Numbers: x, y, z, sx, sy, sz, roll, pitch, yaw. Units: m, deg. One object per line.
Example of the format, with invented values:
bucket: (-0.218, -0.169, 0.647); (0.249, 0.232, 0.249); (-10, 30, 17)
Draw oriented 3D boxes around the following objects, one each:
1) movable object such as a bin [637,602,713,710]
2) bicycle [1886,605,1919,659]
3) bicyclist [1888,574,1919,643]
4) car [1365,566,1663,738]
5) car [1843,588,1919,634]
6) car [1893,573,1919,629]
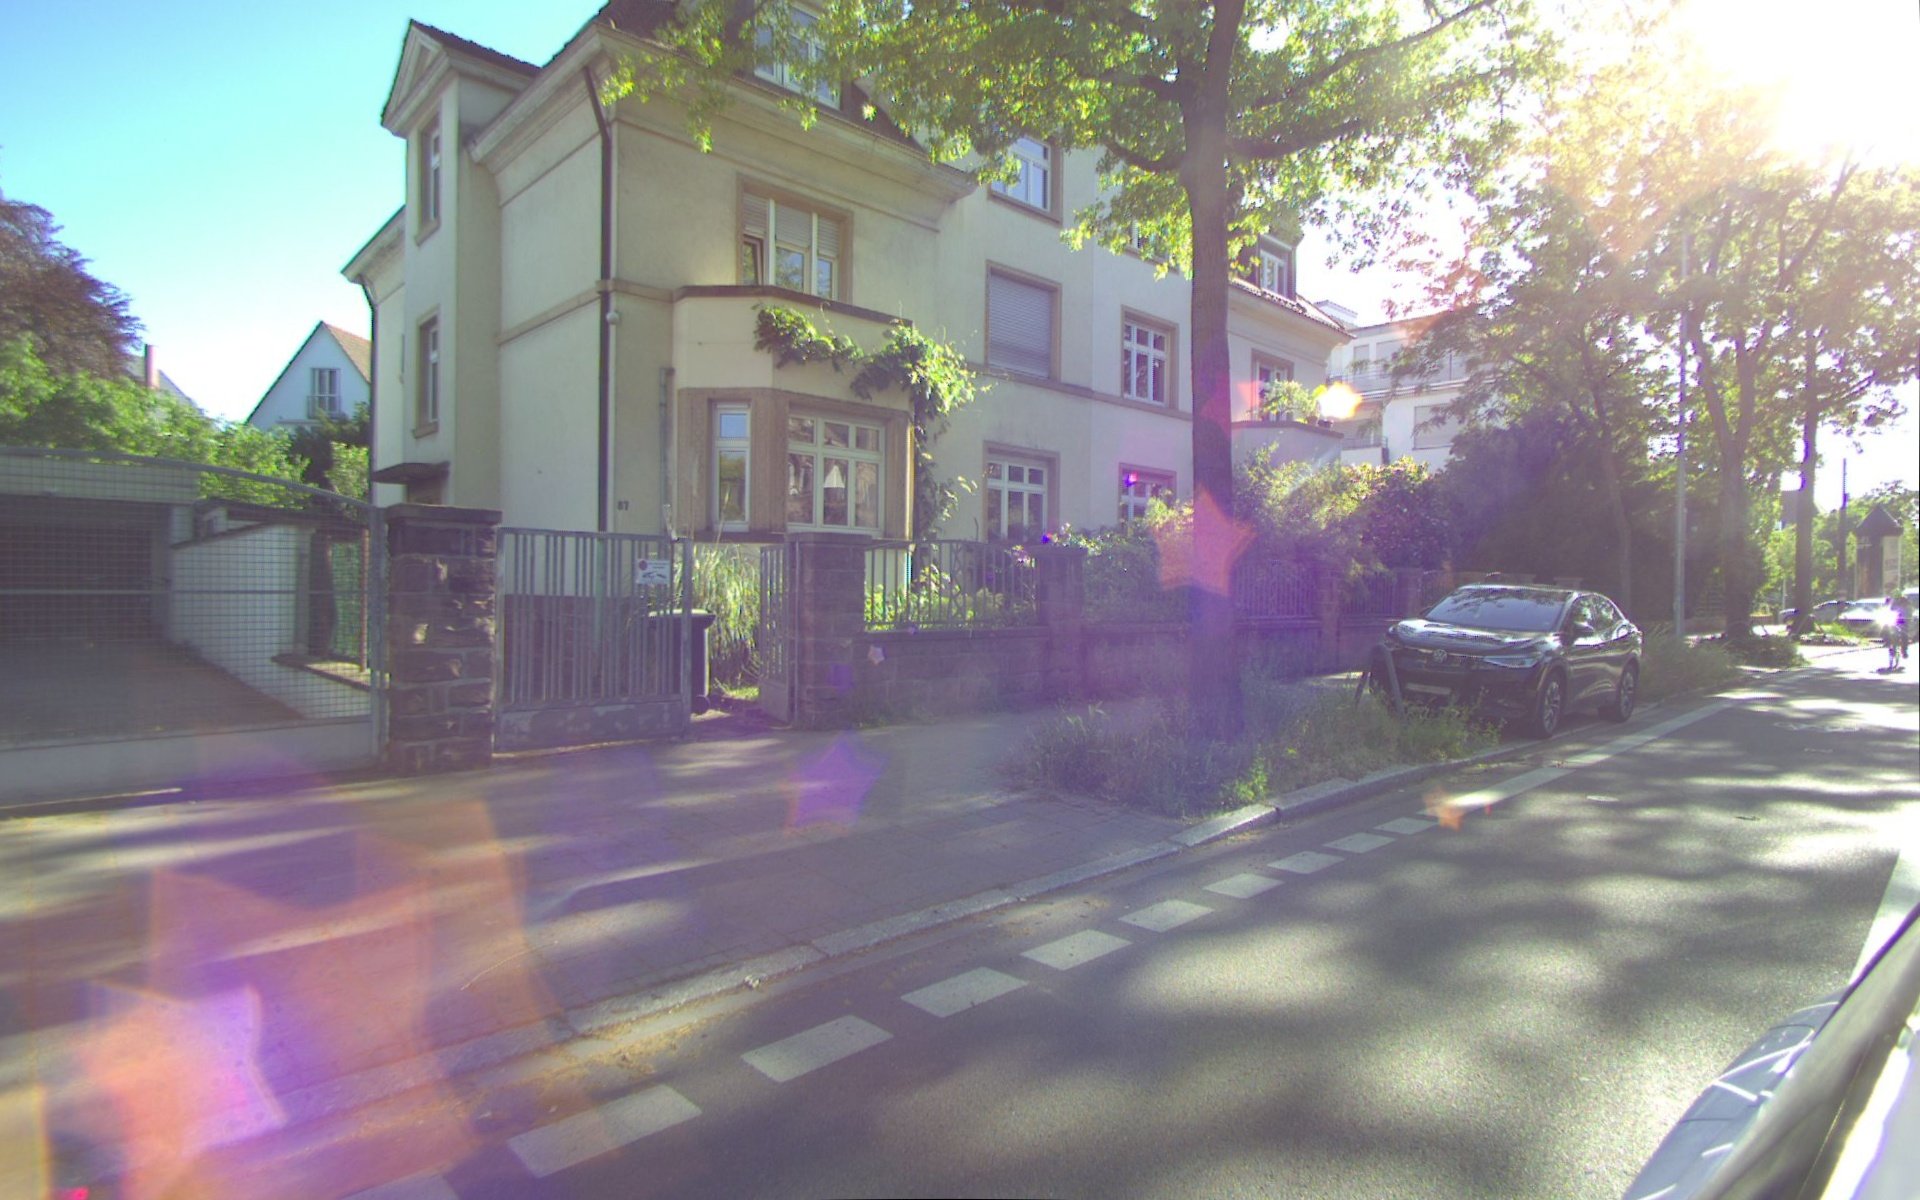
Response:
movable object such as a bin: (-3.068, 0.563, 10.833); (0.697, 1.070, 1.093); (0, 0, -20)
bicycle: (21.448, 0.703, 22.803); (1.868, 1.158, 0.644); (0, 0, -41)
bicyclist: (21.454, 0.180, 22.821); (1.095, 1.506, 0.645); (0, 0, -41)
car: (6.687, 0.495, 12.055); (4.020, 1.626, 1.743); (0, 4, -41)
car: (31.557, 0.337, 34.413); (3.930, 1.469, 1.785); (0, 1, -41)
car: (36.792, 0.050, 38.074); (4.503, 2.039, 1.997); (0, 1, -41)
